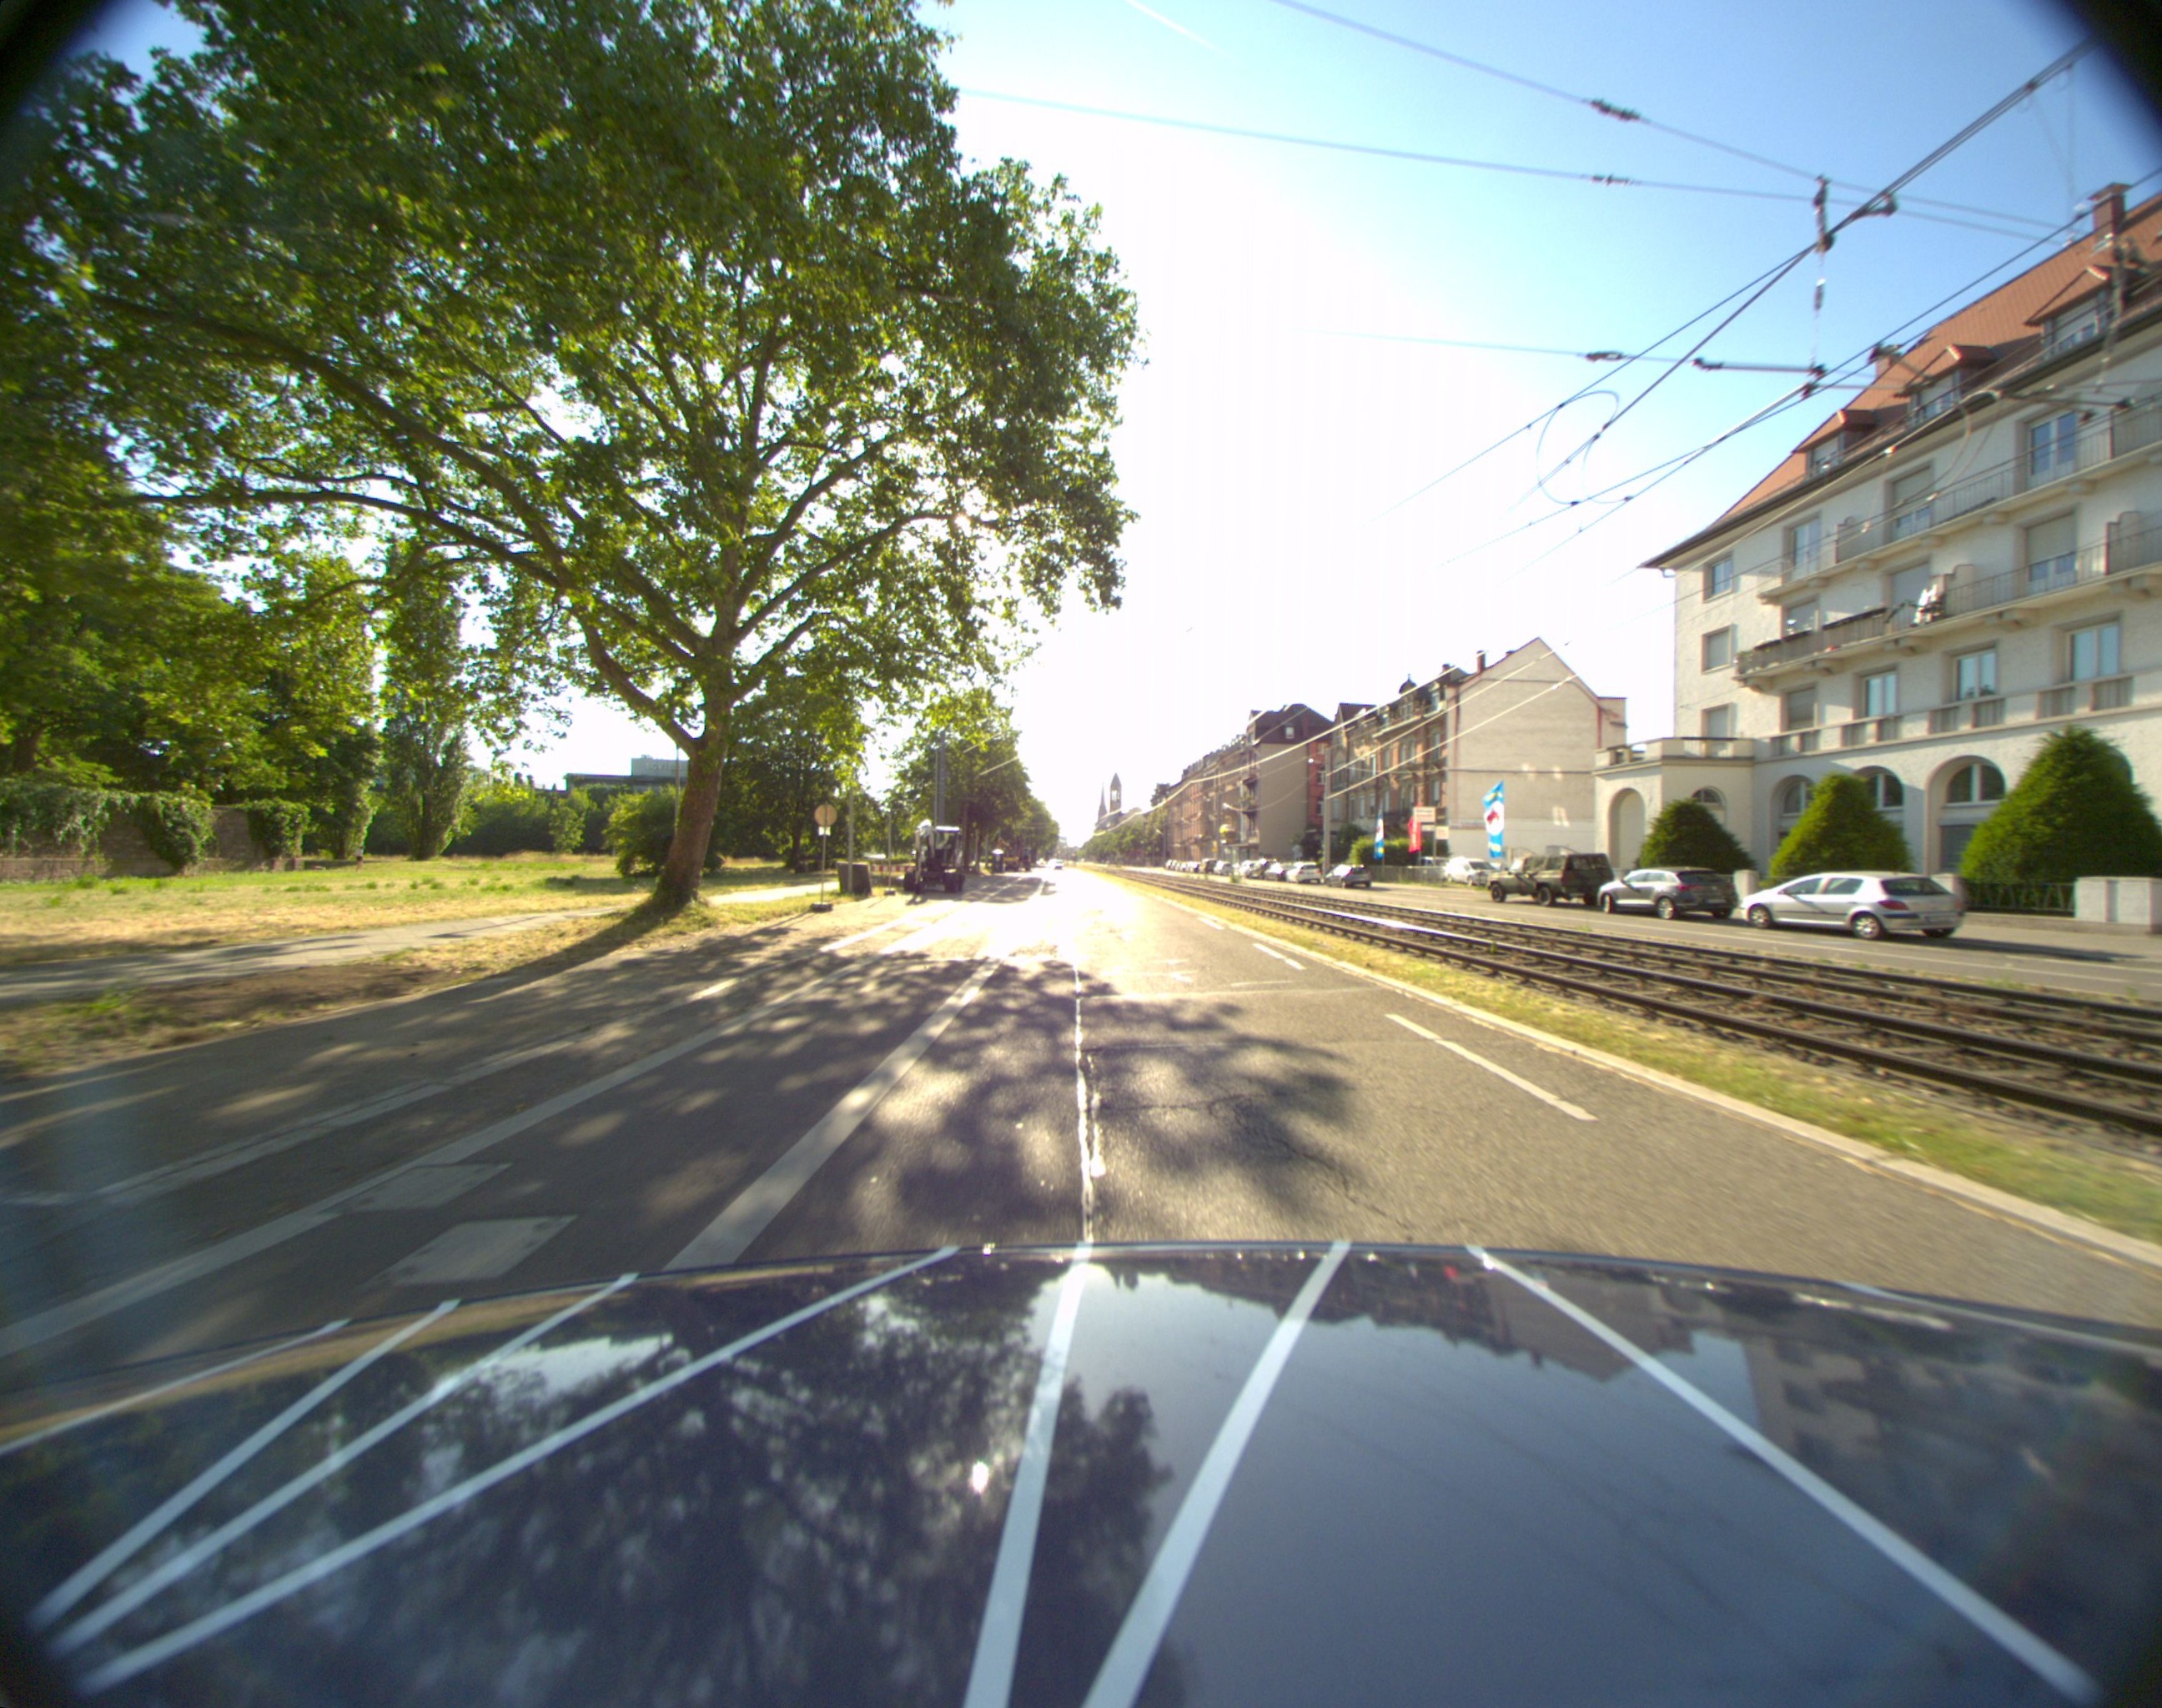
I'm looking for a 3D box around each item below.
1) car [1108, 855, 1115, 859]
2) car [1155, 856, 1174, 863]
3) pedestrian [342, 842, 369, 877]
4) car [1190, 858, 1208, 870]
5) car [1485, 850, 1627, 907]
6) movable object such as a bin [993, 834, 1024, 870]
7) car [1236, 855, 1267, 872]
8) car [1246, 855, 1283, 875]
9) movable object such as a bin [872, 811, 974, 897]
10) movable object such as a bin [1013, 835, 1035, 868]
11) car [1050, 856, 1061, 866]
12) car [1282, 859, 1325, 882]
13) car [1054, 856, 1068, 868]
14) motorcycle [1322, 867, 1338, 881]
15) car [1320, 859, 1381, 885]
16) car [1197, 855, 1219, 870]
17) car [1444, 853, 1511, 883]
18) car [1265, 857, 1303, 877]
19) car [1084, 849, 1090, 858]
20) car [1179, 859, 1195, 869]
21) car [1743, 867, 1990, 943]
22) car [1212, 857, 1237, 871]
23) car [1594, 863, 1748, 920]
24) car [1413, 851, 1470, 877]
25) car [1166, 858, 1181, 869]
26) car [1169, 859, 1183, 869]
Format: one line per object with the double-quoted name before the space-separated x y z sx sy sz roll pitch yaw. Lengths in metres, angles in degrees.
"car" 10.366 1.064 257.844 1.799 1.501 3.998 1 0 -4
"car" 18.569 1.196 169.020 3.991 1.502 1.802 -1 1 19
"pedestrian" -42.204 0.292 44.212 0.868 2.002 1.266 -2 1 -33
"car" 15.601 1.304 100.922 1.664 1.437 3.980 -1 0 -2
"car" 18.554 0.868 30.089 2.082 1.998 5.591 -1 0 0
"movable object such as a bin" -8.697 -0.235 92.170 3.348 3.953 7.595 3 0 -4
"car" 16.891 0.954 75.672 1.926 1.674 4.627 0 0 -2
"car" 17.028 0.986 70.554 1.926 1.770 4.496 -1 0 -6
"movable object such as a bin" -6.564 0.027 32.741 2.751 3.127 7.218 4 0 -1
"movable object such as a bin" -8.336 -0.376 112.111 2.923 4.583 7.595 3 0 -4
"car" -4.251 1.155 125.031 1.799 1.501 3.999 -1 0 -2
"car" 17.206 1.232 58.897 1.925 1.684 4.842 -1 0 0
"car" -2.716 1.065 101.622 1.799 1.501 3.999 -1 0 -2
"motorcycle" 17.757 1.423 54.267 0.827 0.948 2.153 -1 1 12
"car" 17.472 1.120 49.575 1.926 1.452 4.840 -4 0 -3
"car" 15.903 1.082 95.332 1.664 1.797 4.727 -1 0 -3
"car" 25.048 0.823 48.161 1.908 1.646 4.561 1 2 2
"car" 17.172 1.084 64.511 1.925 1.551 4.842 -1 0 0
"car" 2.070 -0.149 258.652 1.799 2.766 3.999 1 0 -2
"car" 15.491 1.442 111.665 1.664 1.437 3.980 -1 0 -2
"car" 18.601 1.129 18.305 1.799 1.501 3.999 -1 1 -1
"car" 16.788 1.139 88.917 1.926 1.529 4.626 0 0 -2
"car" 18.303 1.104 23.839 1.639 1.498 4.158 -1 1 0
"car" 25.455 0.673 53.785 1.908 1.646 4.561 1 2 2
"car" 15.334 1.585 126.113 1.799 1.633 4.630 -1 0 1
"car" 15.221 1.591 121.443 1.664 1.437 3.764 -1 0 -2
